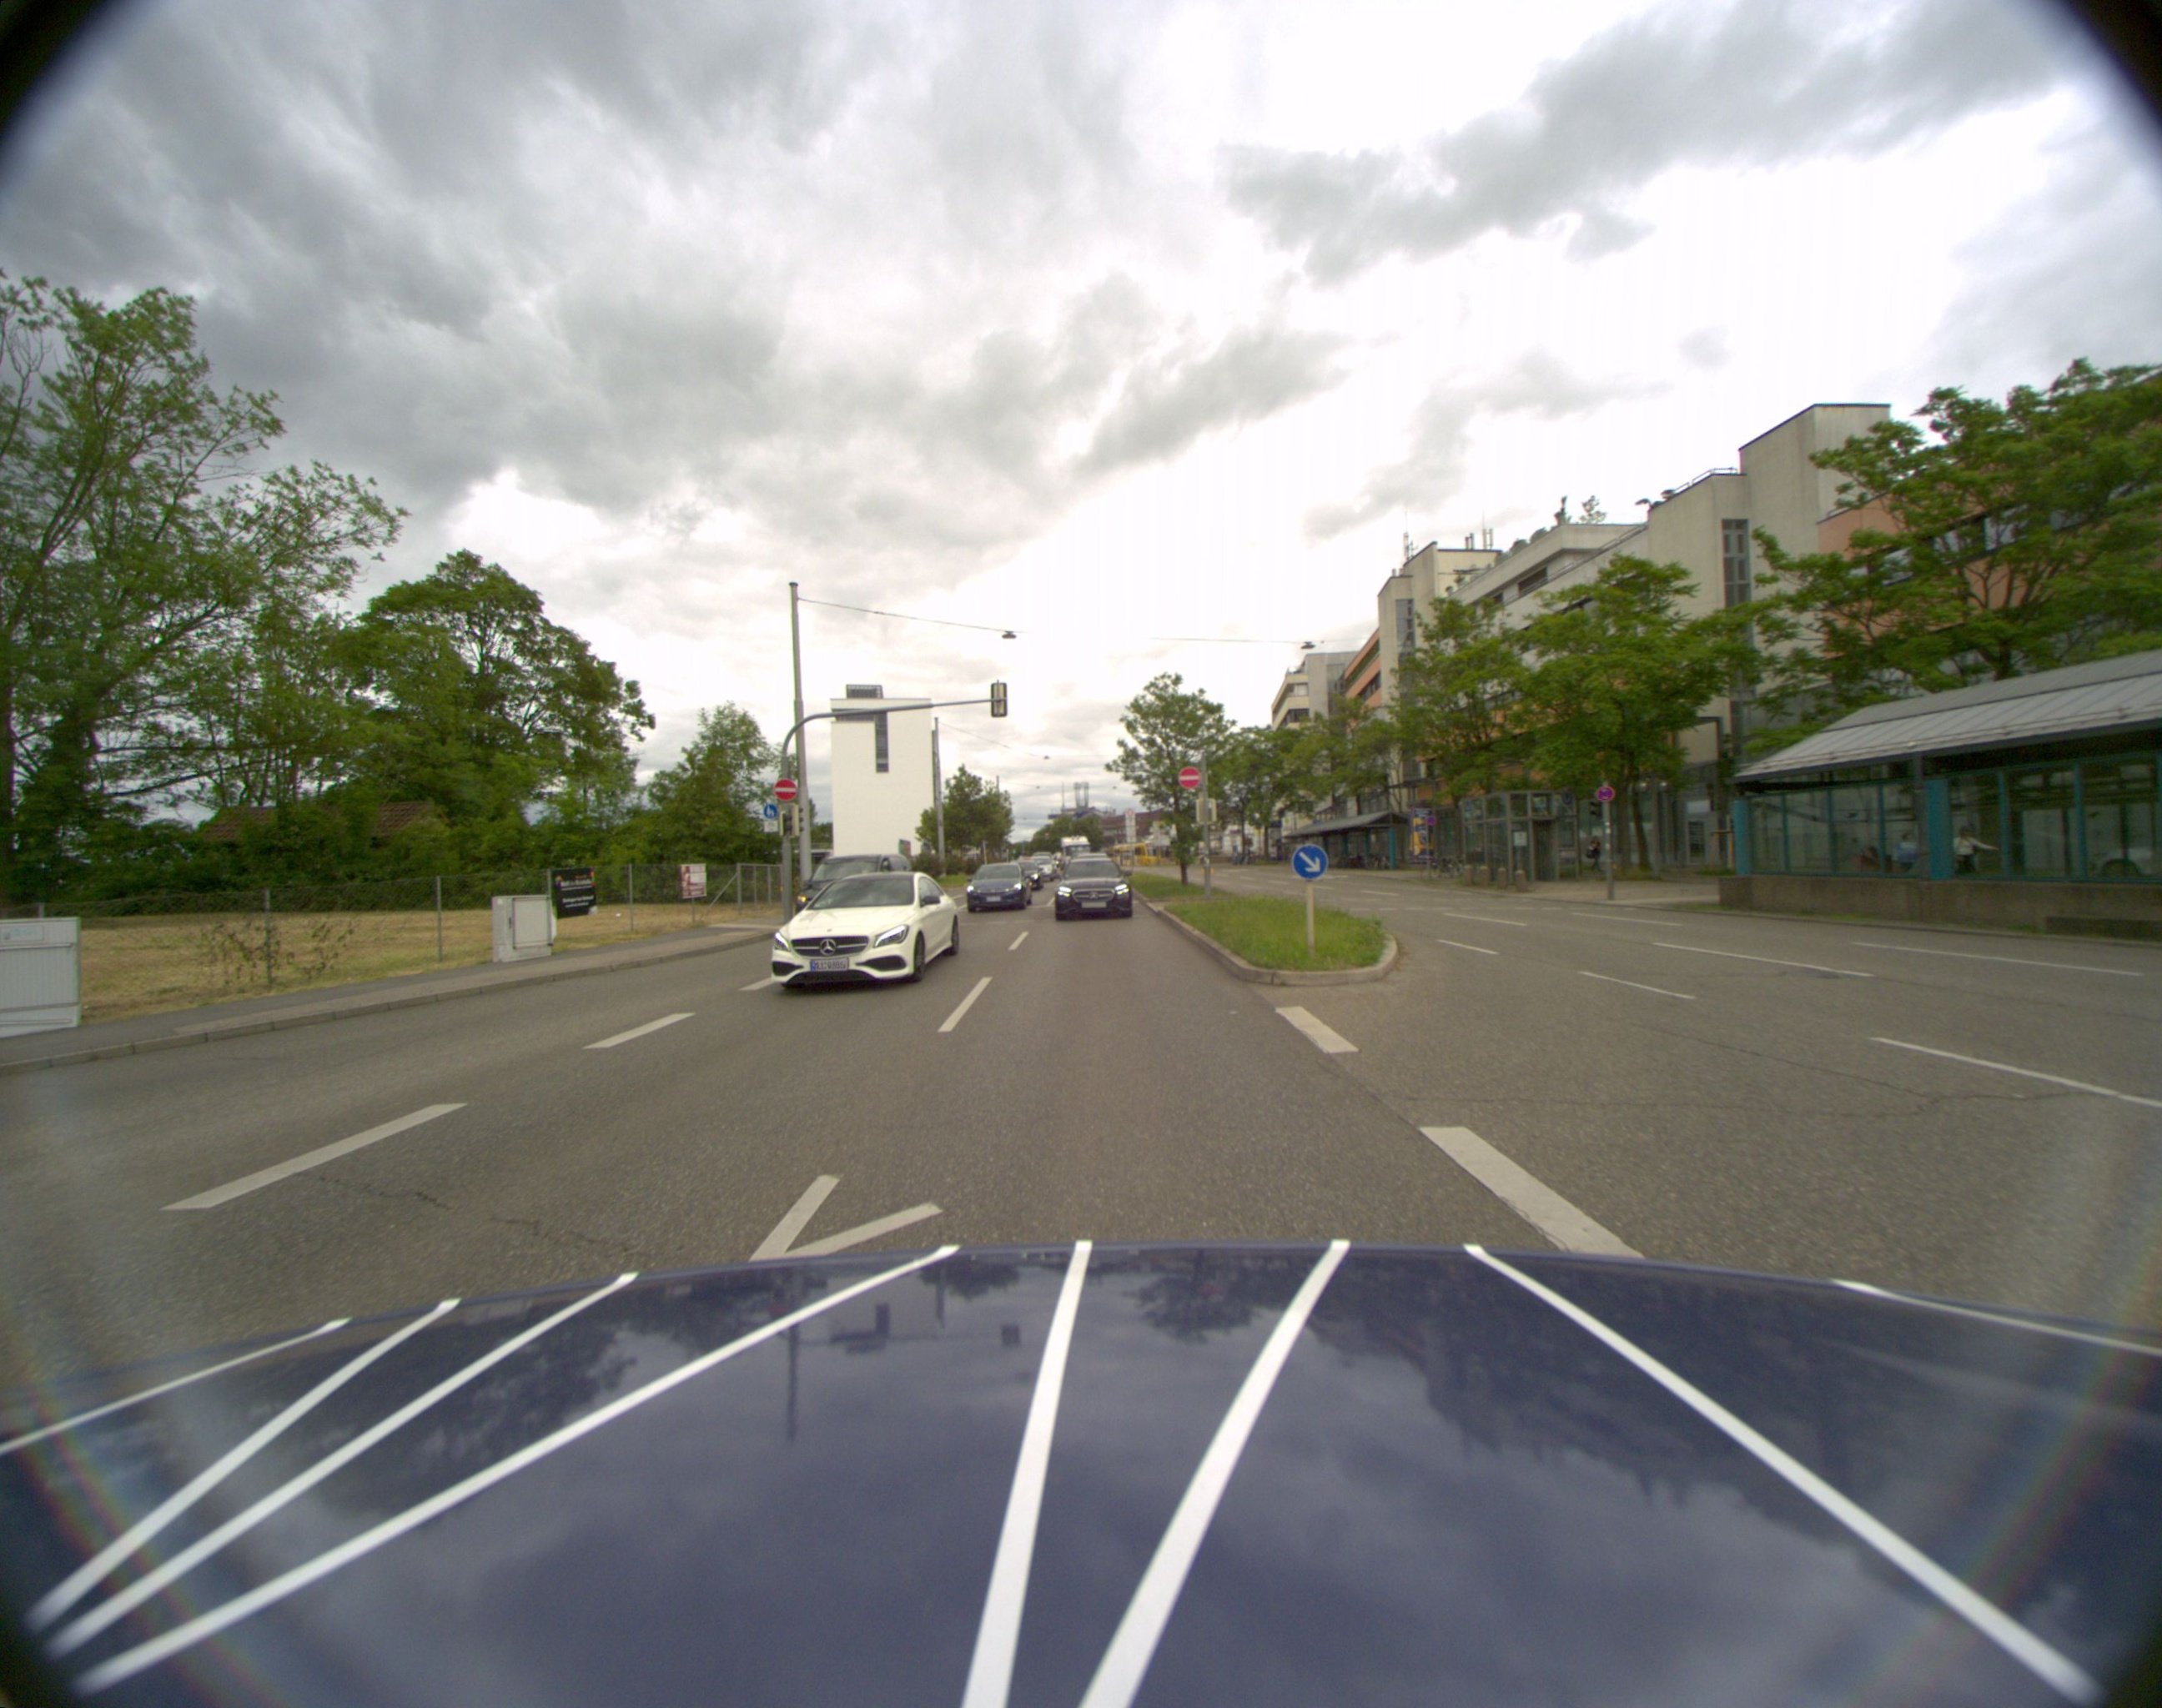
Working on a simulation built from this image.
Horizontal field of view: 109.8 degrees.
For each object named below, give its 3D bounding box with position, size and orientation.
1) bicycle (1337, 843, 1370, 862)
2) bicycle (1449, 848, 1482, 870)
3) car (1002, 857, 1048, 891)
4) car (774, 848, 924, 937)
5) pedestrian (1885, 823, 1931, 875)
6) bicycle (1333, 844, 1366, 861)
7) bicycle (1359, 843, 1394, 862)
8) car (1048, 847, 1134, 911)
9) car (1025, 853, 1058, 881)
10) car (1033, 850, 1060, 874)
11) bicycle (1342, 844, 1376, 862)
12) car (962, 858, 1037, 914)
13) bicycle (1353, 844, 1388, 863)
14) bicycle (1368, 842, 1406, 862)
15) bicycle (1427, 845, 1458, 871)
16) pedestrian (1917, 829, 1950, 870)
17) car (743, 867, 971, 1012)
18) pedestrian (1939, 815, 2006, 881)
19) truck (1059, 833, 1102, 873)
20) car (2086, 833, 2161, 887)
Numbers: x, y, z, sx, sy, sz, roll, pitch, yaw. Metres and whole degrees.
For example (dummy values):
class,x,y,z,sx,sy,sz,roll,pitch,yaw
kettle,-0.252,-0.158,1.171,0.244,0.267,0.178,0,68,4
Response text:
class,x,y,z,sx,sy,sz,roll,pitch,yaw
bicycle,18.703,-0.100,52.135,2.069,1.132,0.542,-3,1,-1
bicycle,18.671,0.224,36.926,0.521,1.021,2.050,-3,0,1
car,-2.681,0.934,37.075,1.798,1.464,4.310,-2,1,1
car,-5.613,0.840,19.178,2.015,1.877,4.875,-2,1,3
pedestrian,24.959,-0.159,22.936,0.687,1.538,0.638,-2,1,-1
bicycle,18.743,-0.101,53.052,2.069,1.084,0.542,-3,1,-1
bicycle,18.948,-0.099,48.736,2.070,1.132,0.542,-3,1,-6
car,0.160,0.682,20.852,2.058,1.477,4.974,-2,-2,-2
car,-2.515,0.814,49.215,1.798,1.590,4.310,-2,1,1
car,-2.681,0.582,59.818,2.021,1.760,3.999,-2,0,-2
bicycle,18.731,-0.042,51.258,2.069,1.084,0.542,-3,1,-1
car,-2.503,0.949,24.336,1.798,1.464,4.310,-3,1,1
bicycle,18.990,-0.043,49.889,2.070,1.084,0.542,-3,1,-6
bicycle,19.252,-0.119,47.822,2.206,1.084,0.542,-3,1,-6
bicycle,17.380,0.191,36.597,0.521,1.218,1.948,-3,0,1
pedestrian,24.956,-0.134,22.243,0.383,1.186,0.514,-2,1,1
car,-2.900,1.018,11.035,1.798,1.464,4.699,-2,1,1
pedestrian,23.464,-0.163,20.015,0.779,1.670,0.827,-2,1,1
truck,-0.106,-0.089,66.010,3.120,3.209,6.521,-2,0,-5
car,29.185,0.154,19.024,1.693,1.392,4.719,-2,1,-3
